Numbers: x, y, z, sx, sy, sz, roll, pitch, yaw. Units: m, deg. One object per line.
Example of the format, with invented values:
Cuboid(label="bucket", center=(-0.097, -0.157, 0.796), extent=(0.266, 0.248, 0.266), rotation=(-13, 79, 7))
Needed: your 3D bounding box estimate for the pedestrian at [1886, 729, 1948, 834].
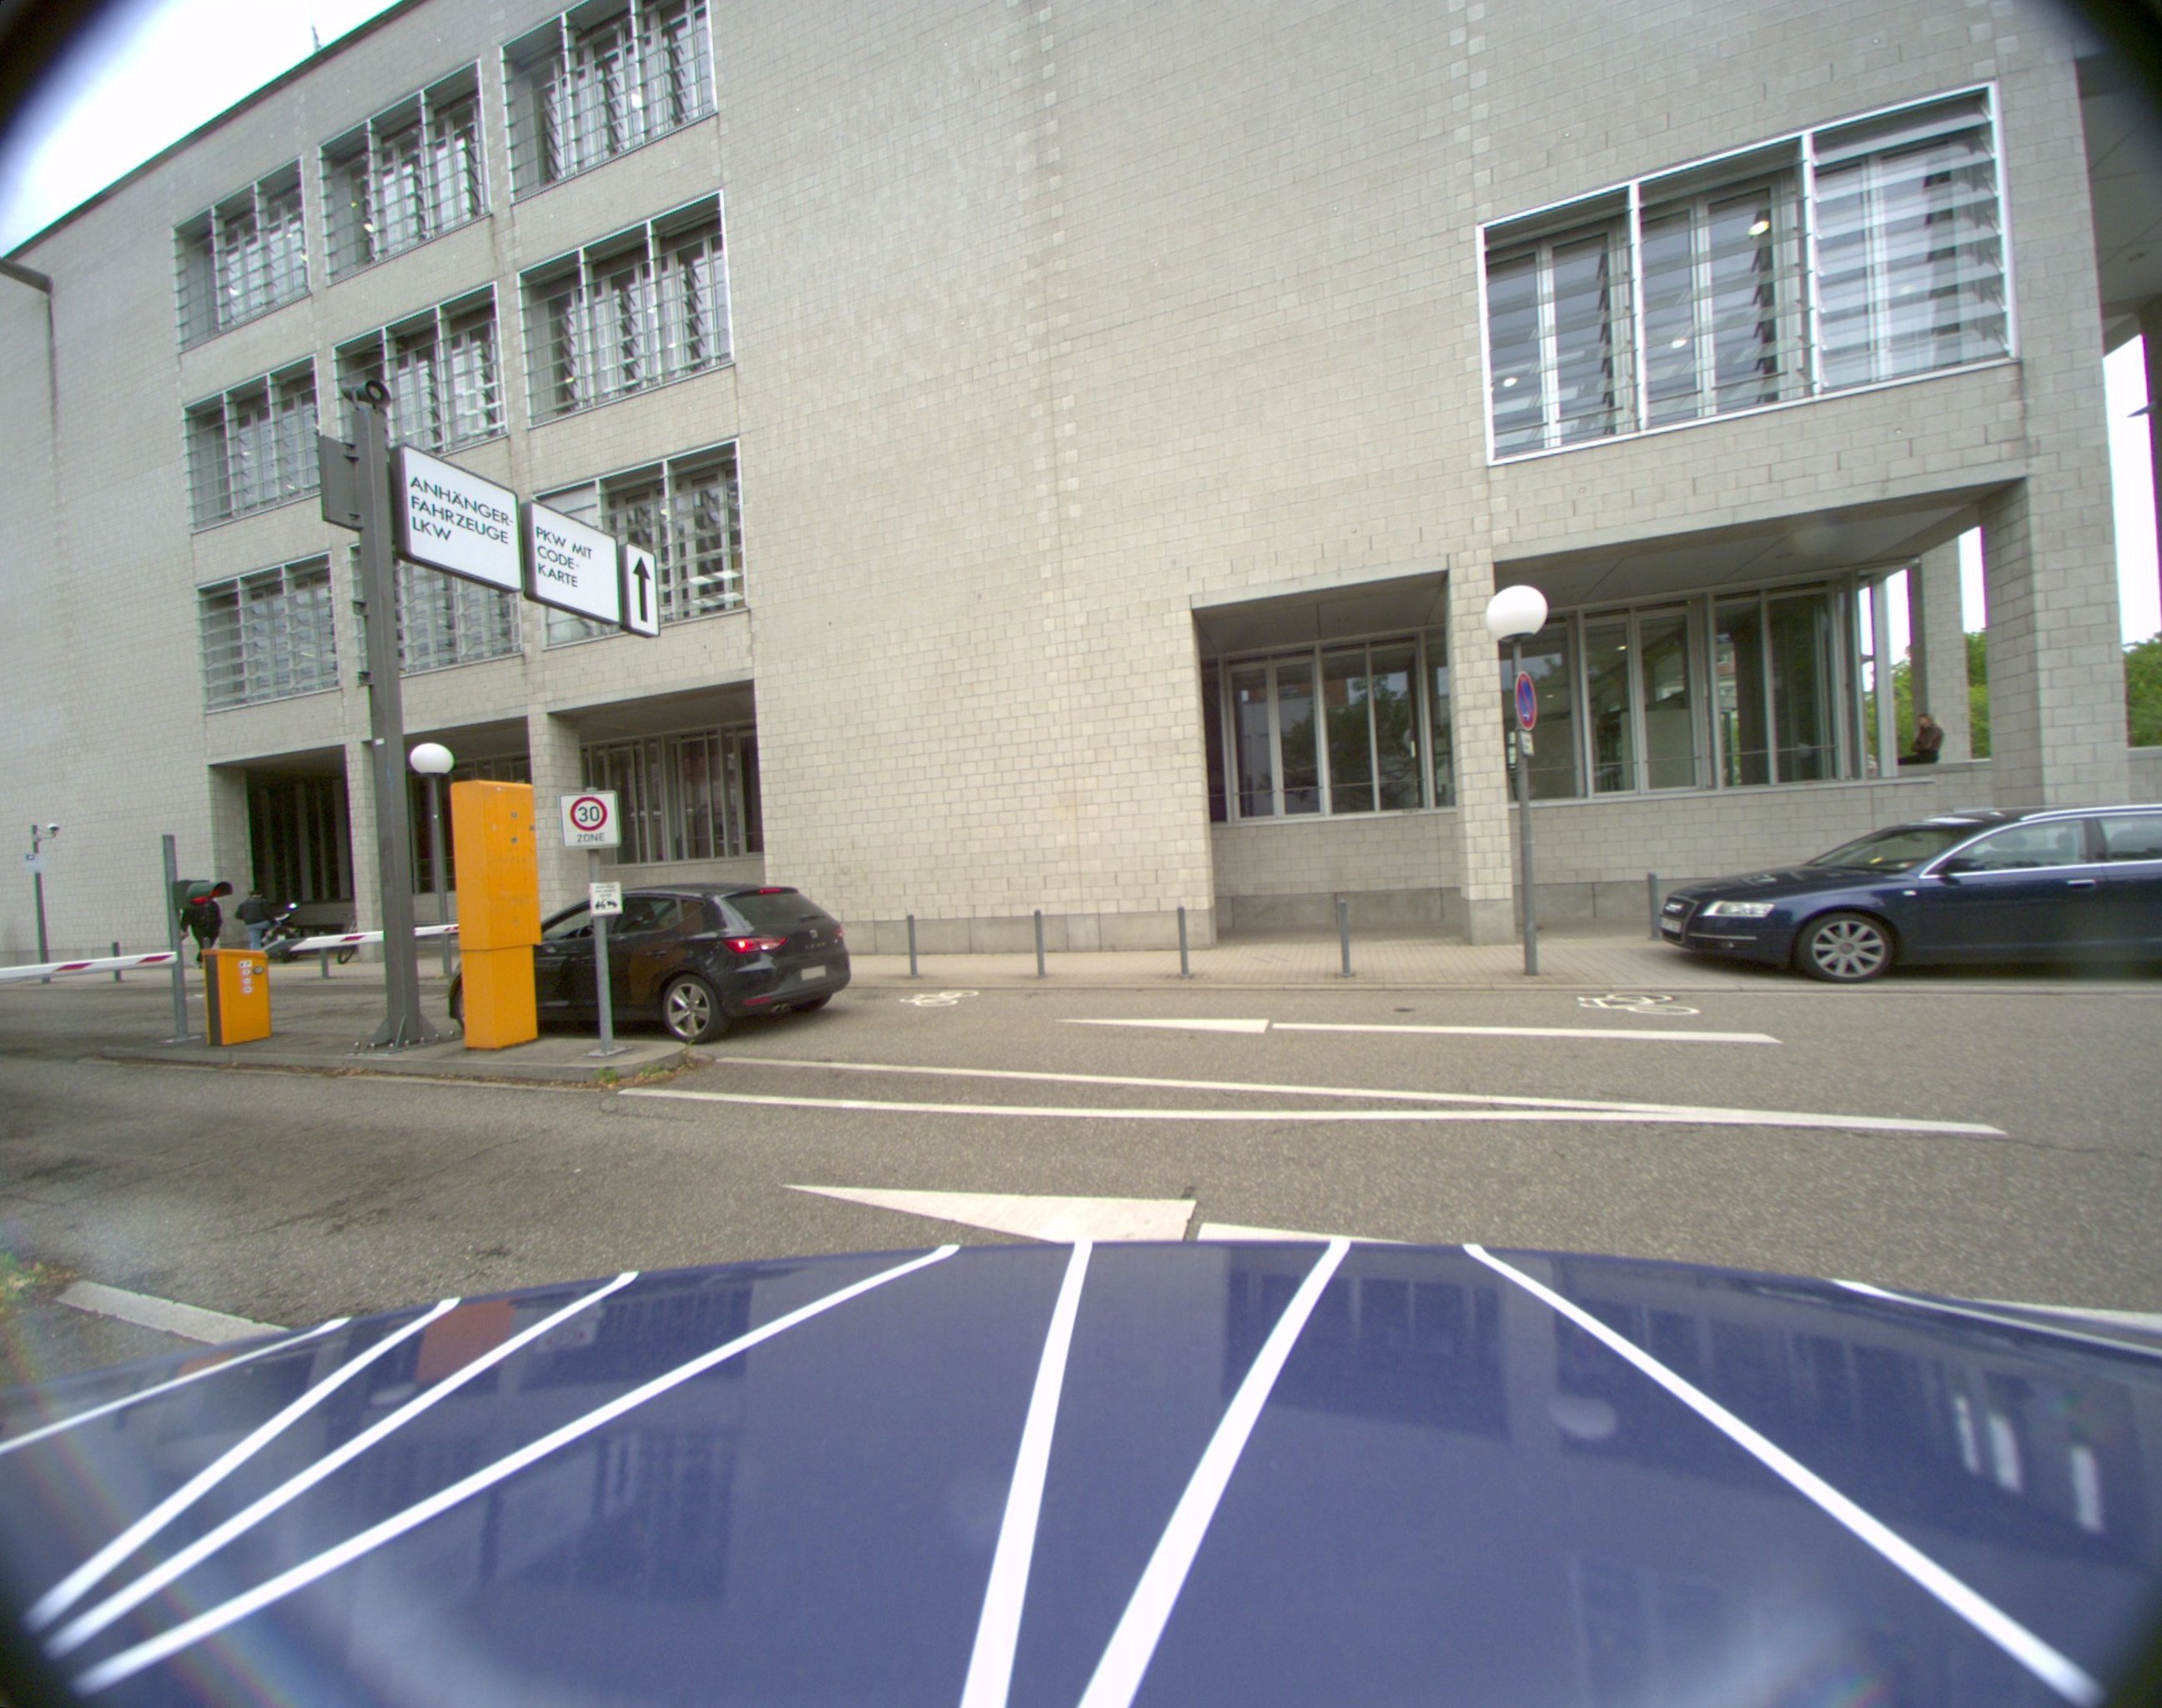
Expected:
Cuboid(label="pedestrian", center=(13.920, -1.170, 12.668), extent=(0.629, 1.649, 0.809), rotation=(0, 0, 43))

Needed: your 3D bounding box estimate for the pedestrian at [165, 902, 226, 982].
Cuboid(label="pedestrian", center=(-19.803, 1.960, 16.995), extent=(0.573, 1.704, 0.614), rotation=(-3, 1, 15))

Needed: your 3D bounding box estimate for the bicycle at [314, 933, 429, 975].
Cuboid(label="bicycle", center=(-15.799, 2.213, 16.992), extent=(0.492, 0.694, 1.905), rotation=(0, -1, 15))

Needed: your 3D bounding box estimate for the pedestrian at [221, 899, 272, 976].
Cuboid(label="pedestrian", center=(-19.040, 1.891, 17.347), extent=(0.690, 1.689, 0.589), rotation=(0, 0, 24))

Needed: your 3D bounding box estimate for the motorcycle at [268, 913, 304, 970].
Cuboid(label="motorcycle", center=(-18.819, 2.032, 17.975), extent=(2.210, 1.141, 0.569), rotation=(-1, 0, 43))

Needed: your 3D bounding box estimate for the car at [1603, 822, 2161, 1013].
Cuboid(label="car", center=(8.114, 0.545, 7.112), extent=(4.912, 1.443, 2.002), rotation=(-3, 0, 18))

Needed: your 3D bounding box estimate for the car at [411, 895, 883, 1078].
Cuboid(label="car", center=(-4.337, 1.228, 7.708), extent=(4.121, 1.410, 1.790), rotation=(-3, -1, 18))

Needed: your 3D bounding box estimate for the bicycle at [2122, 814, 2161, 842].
Cuboid(label="bicycle", center=(46.488, -1.103, 31.786), extent=(3.386, 1.163, 1.057), rotation=(-1, 0, 24))

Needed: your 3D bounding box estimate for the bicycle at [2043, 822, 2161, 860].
Cuboid(label="bicycle", center=(32.522, -0.395, 23.786), extent=(3.101, 1.163, 0.623), rotation=(-1, 0, 20))
